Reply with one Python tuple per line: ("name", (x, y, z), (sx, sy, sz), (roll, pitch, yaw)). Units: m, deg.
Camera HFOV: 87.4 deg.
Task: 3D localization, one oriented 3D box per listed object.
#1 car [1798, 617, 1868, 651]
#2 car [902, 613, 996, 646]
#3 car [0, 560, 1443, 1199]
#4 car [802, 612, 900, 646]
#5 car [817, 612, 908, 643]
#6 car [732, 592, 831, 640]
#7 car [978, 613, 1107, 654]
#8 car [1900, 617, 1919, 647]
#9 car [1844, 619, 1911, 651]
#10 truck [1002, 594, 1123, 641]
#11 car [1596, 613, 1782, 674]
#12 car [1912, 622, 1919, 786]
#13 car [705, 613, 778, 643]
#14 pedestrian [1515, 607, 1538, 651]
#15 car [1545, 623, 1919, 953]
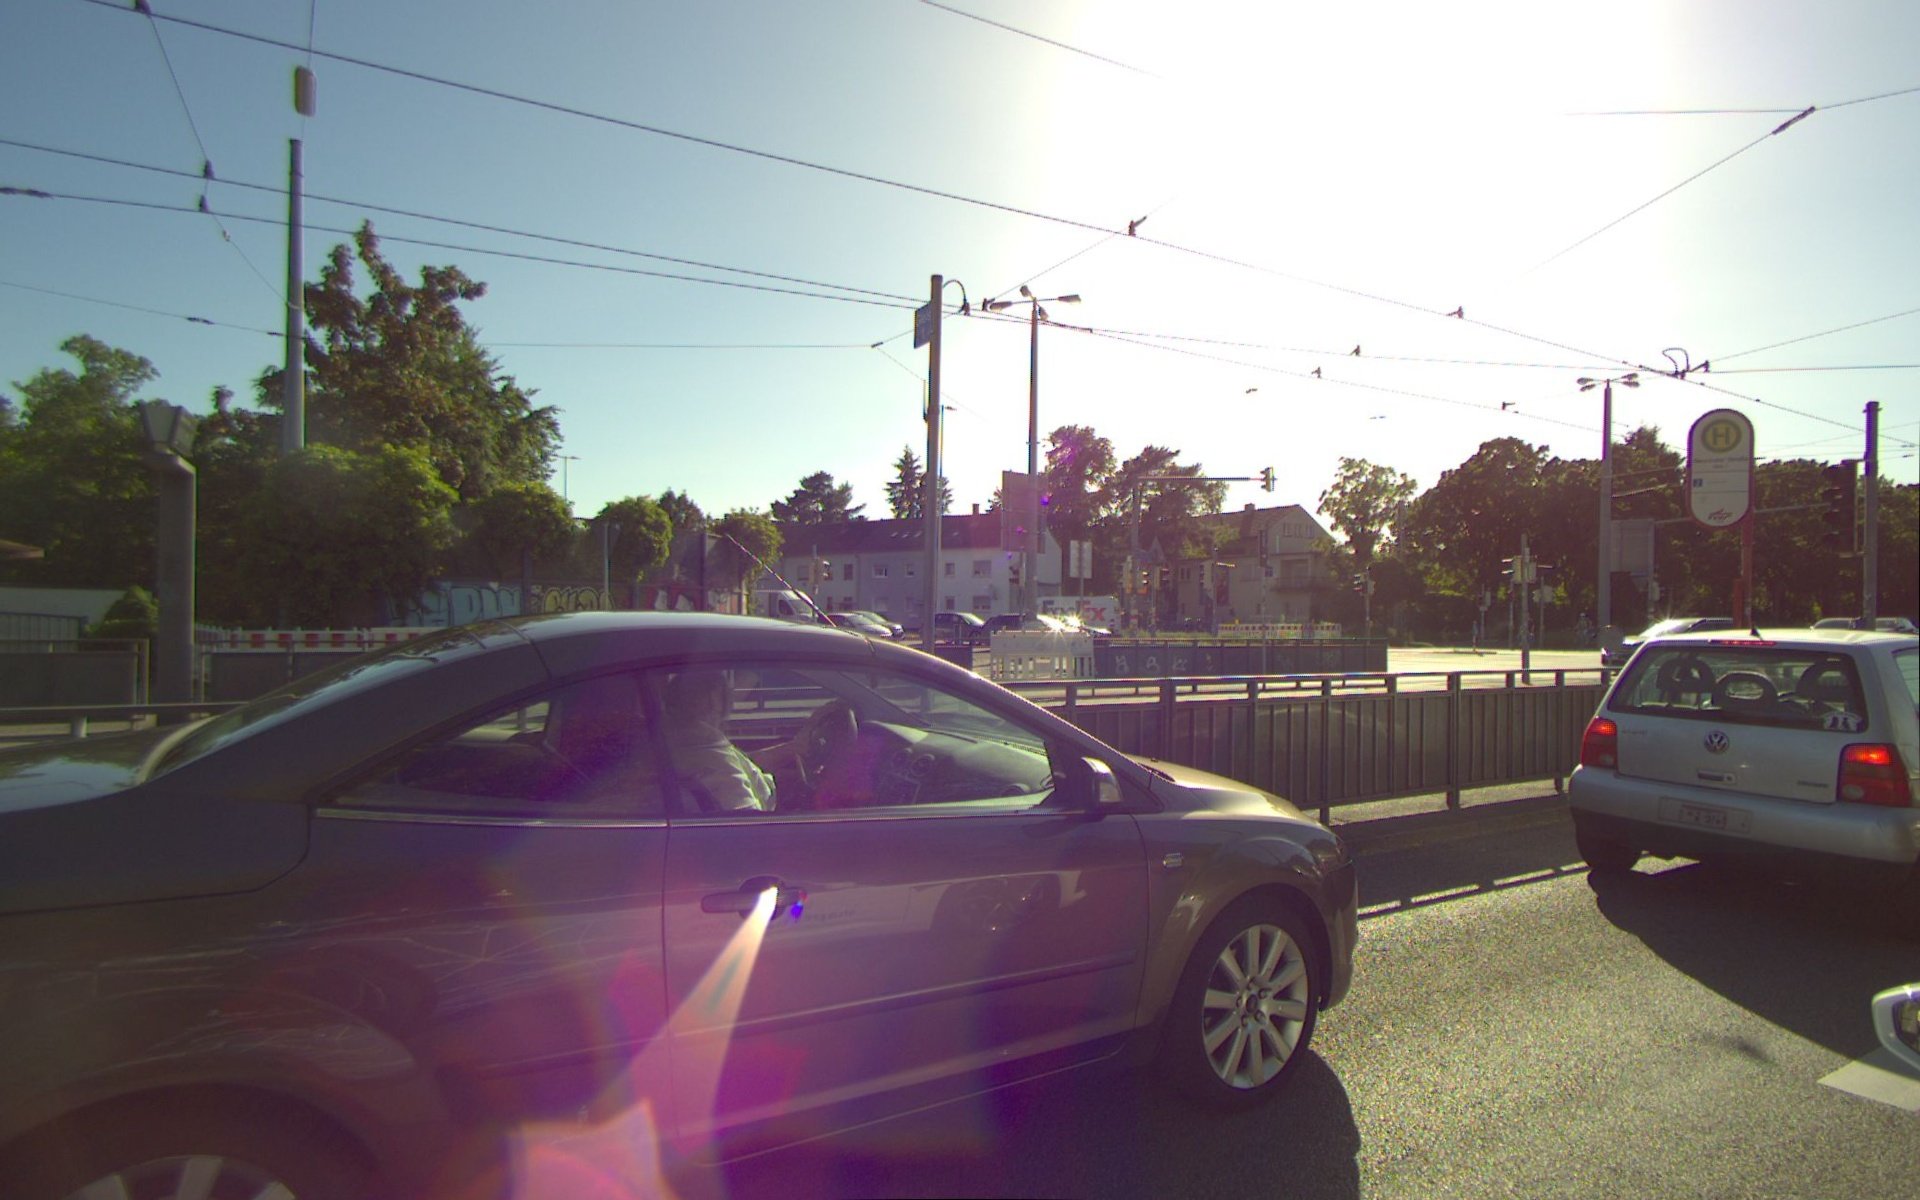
("car", (42.434, 1.649, 48.802), (3.963, 1.568, 1.819), (1, -1, -37))
("car", (-0.522, 1.312, 45.813), (4.104, 1.451, 1.589), (0, -1, 34))
("car", (-0.687, 0.706, 2.959), (4.284, 1.469, 1.766), (1, -1, -31))
("car", (-4.830, 1.257, 44.524), (4.104, 1.451, 1.846), (0, -1, 34))
("car", (-4.763, 1.322, 48.897), (4.212, 1.451, 1.788), (0, -1, 34))
("car", (-9.367, 0.824, 52.568), (4.995, 2.434, 2.132), (0, -1, 34))
("car", (3.177, 1.277, 39.212), (4.754, 1.517, 1.781), (0, -1, 34))
("car", (54.277, 1.792, 56.057), (4.712, 1.626, 1.978), (1, 1, -38))
("car", (47.318, 1.774, 51.790), (4.245, 1.568, 1.819), (1, -1, -37))
("truck", (5.915, 0.997, 58.090), (6.690, 2.599, 1.999), (0, -1, 22))
("car", (19.633, 1.158, 27.152), (3.906, 1.564, 1.592), (0, -1, -1))
("car", (10.776, 0.997, 9.451), (4.038, 1.476, 1.611), (2, 0, -31))
("car", (-10.634, 1.347, 48.816), (3.552, 1.425, 1.481), (0, -1, 35))
("pedestrian", (26.920, 1.366, 47.748), (0.785, 2.040, 0.741), (1, -1, -42))
("car", (5.204, 0.884, 5.964), (3.312, 1.436, 1.611), (2, -2, -31))
